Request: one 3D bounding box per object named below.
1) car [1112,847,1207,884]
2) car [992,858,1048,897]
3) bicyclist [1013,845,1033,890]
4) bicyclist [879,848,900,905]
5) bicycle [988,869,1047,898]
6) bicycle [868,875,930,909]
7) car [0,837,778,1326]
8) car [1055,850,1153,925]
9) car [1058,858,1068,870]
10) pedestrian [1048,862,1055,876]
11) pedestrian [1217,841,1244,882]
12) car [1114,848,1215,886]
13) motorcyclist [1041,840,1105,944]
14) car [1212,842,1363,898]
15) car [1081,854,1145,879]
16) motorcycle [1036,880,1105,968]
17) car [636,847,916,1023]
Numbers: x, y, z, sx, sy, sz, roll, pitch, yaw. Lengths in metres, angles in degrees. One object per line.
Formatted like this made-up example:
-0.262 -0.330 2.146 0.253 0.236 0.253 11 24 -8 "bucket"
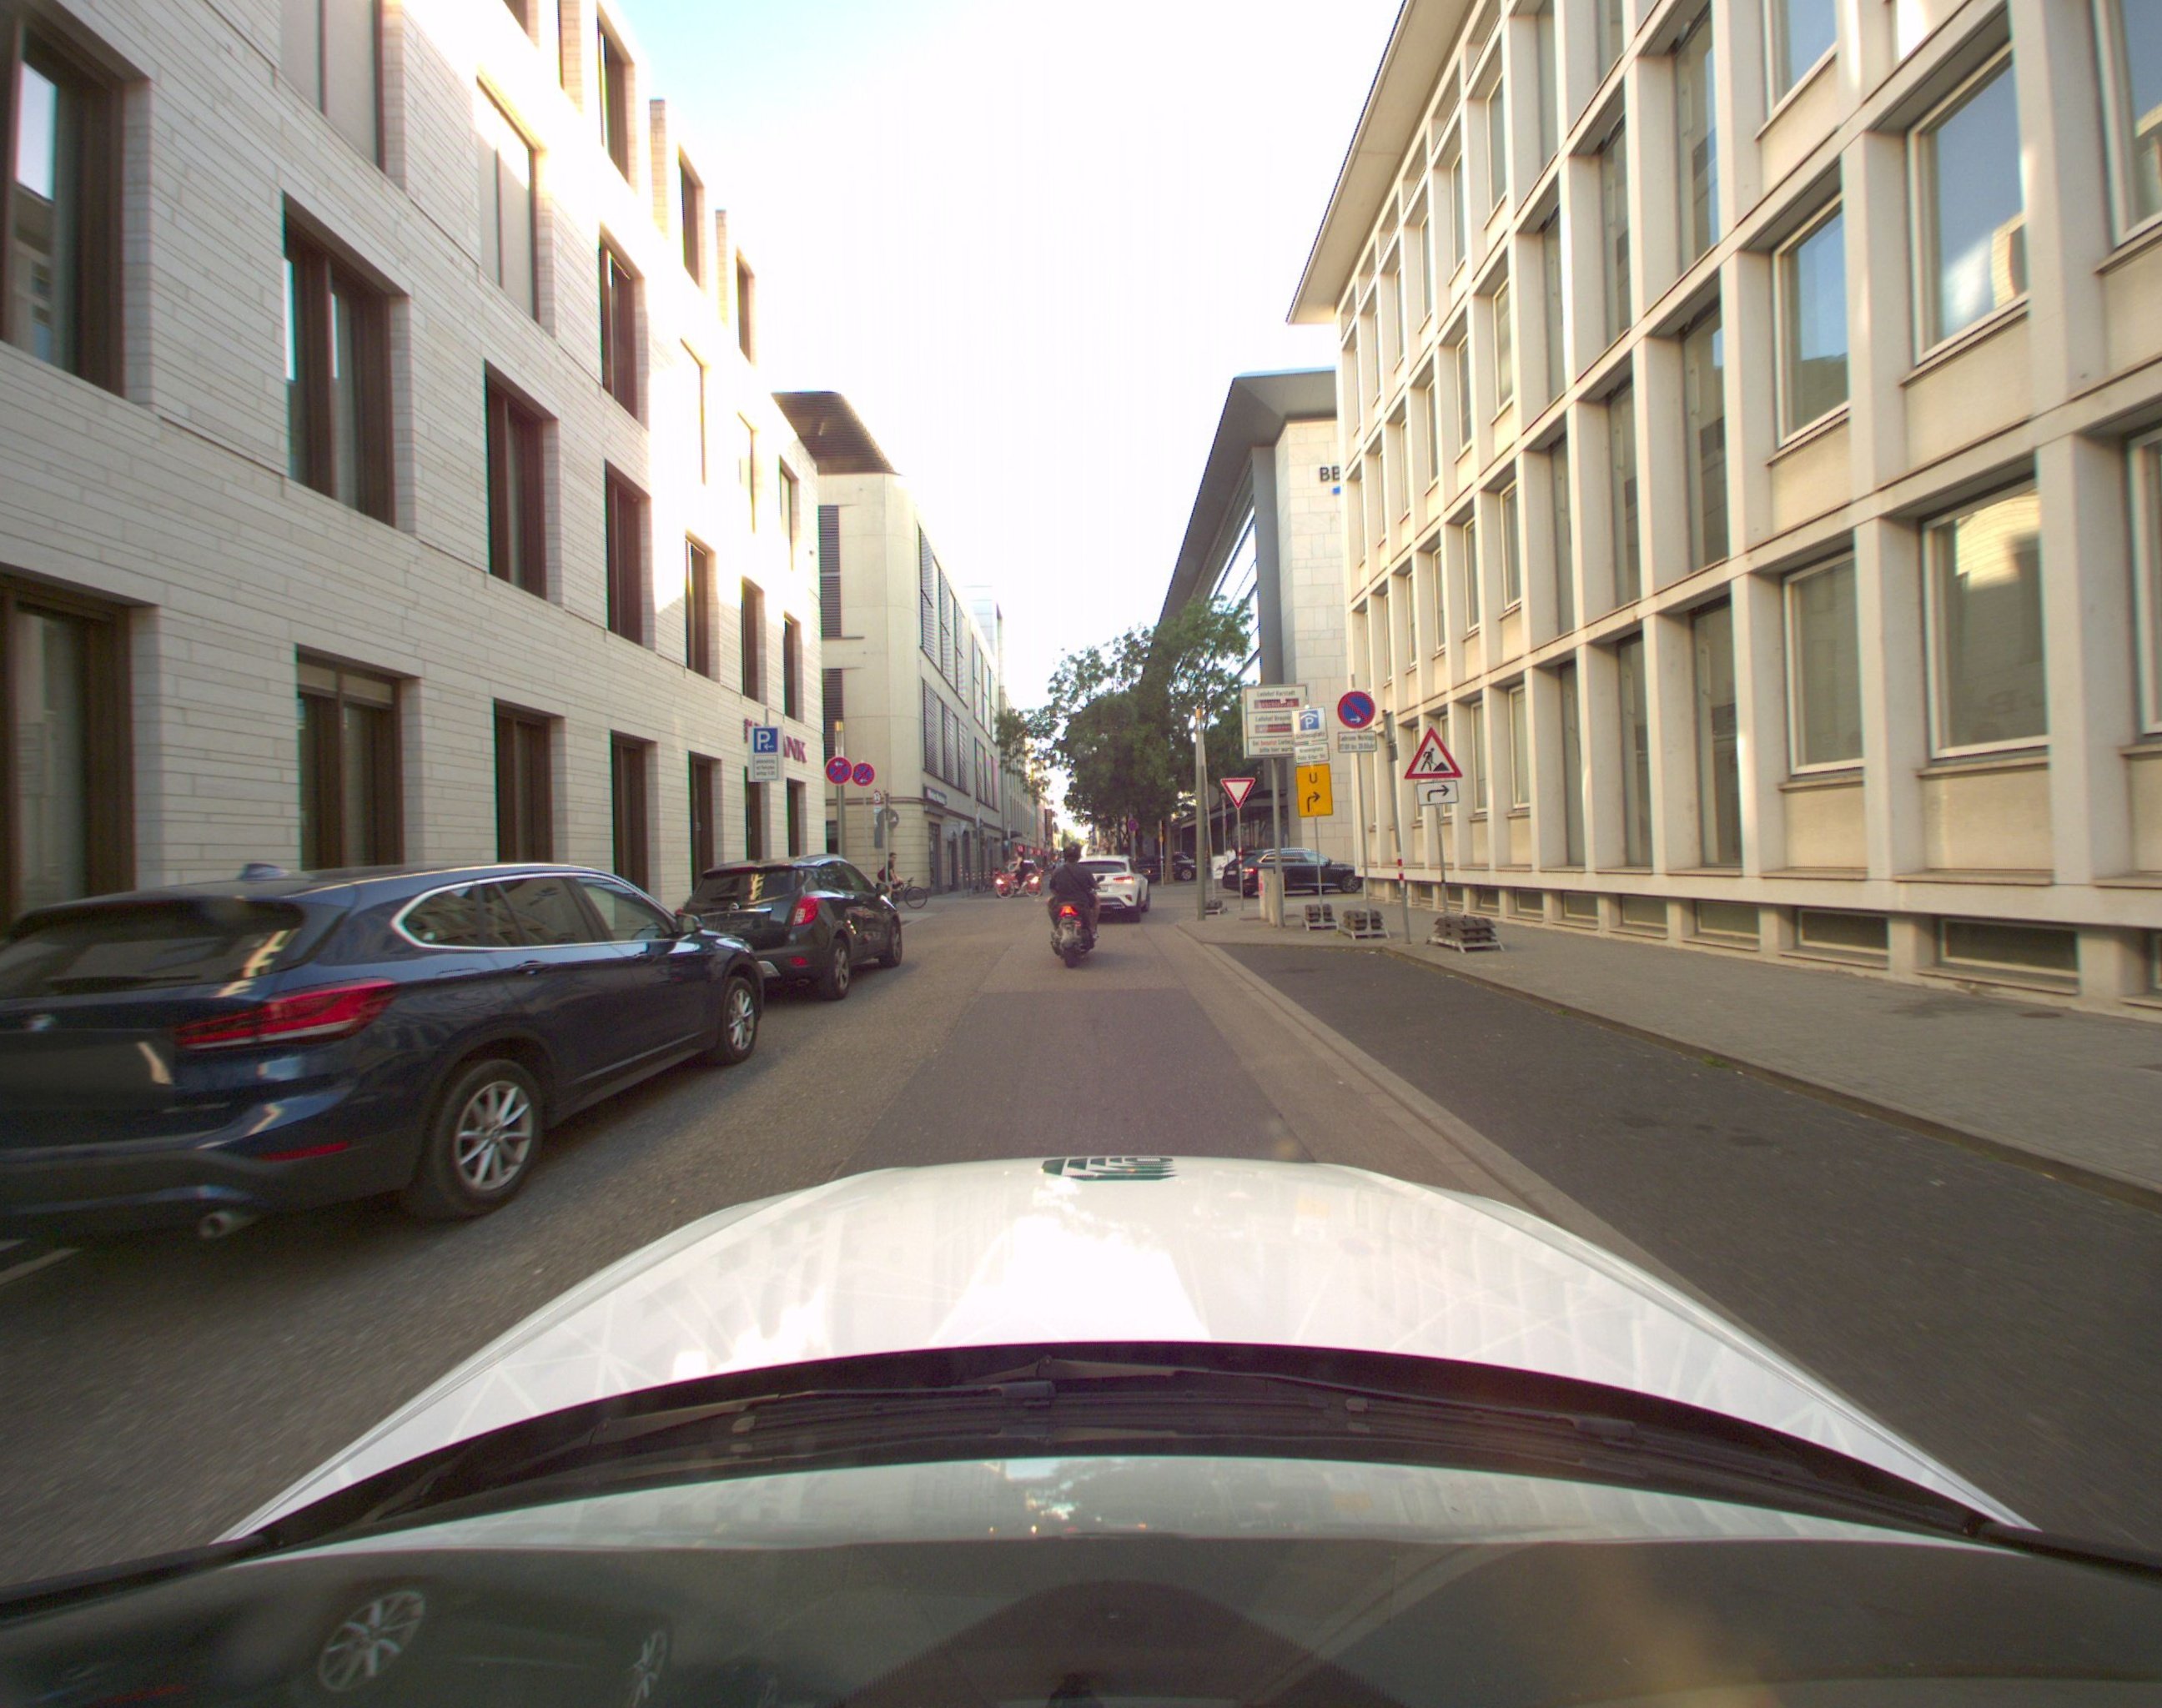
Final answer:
4.348 0.645 45.504 4.992 1.499 1.998 -6 -1 -3 "car"
-2.469 0.980 33.947 1.815 1.465 4.265 -2 -2 2 "car"
-2.135 0.510 30.026 0.627 1.625 0.498 -1 -1 5 "bicyclist"
-5.873 0.689 25.006 0.550 1.732 0.500 -1 -1 -8 "bicyclist"
-2.343 1.085 30.024 2.092 0.995 0.519 -1 -1 5 "bicycle"
-5.587 1.163 25.035 1.814 0.973 0.509 -1 -1 -9 "bicycle"
-3.493 0.795 4.870 1.734 1.594 4.152 -4 0 -1 "car"
0.673 0.705 19.496 1.812 1.541 4.273 -2 0 8 "car"
-3.435 1.912 155.423 1.988 2.329 5.016 0 0 -2 "car"
-3.383 1.729 94.177 0.729 1.574 0.636 -1 -1 1 "pedestrian"
6.478 0.342 35.412 0.902 1.706 0.834 -5 -1 1 "pedestrian"
4.341 0.692 43.077 4.992 1.451 1.998 -6 -1 -3 "car"
-0.111 0.536 11.569 0.864 1.427 0.455 -1 -1 1 "motorcyclist"
6.545 0.468 25.867 4.366 1.541 1.816 -2 1 -21 "car"
2.617 1.043 67.319 4.992 1.499 1.998 -6 -1 -3 "car"
-0.115 0.942 11.524 0.869 1.109 1.840 -1 -1 1 "motorcycle"
-3.558 0.819 10.465 1.816 1.677 4.264 -4 0 1 "car"
